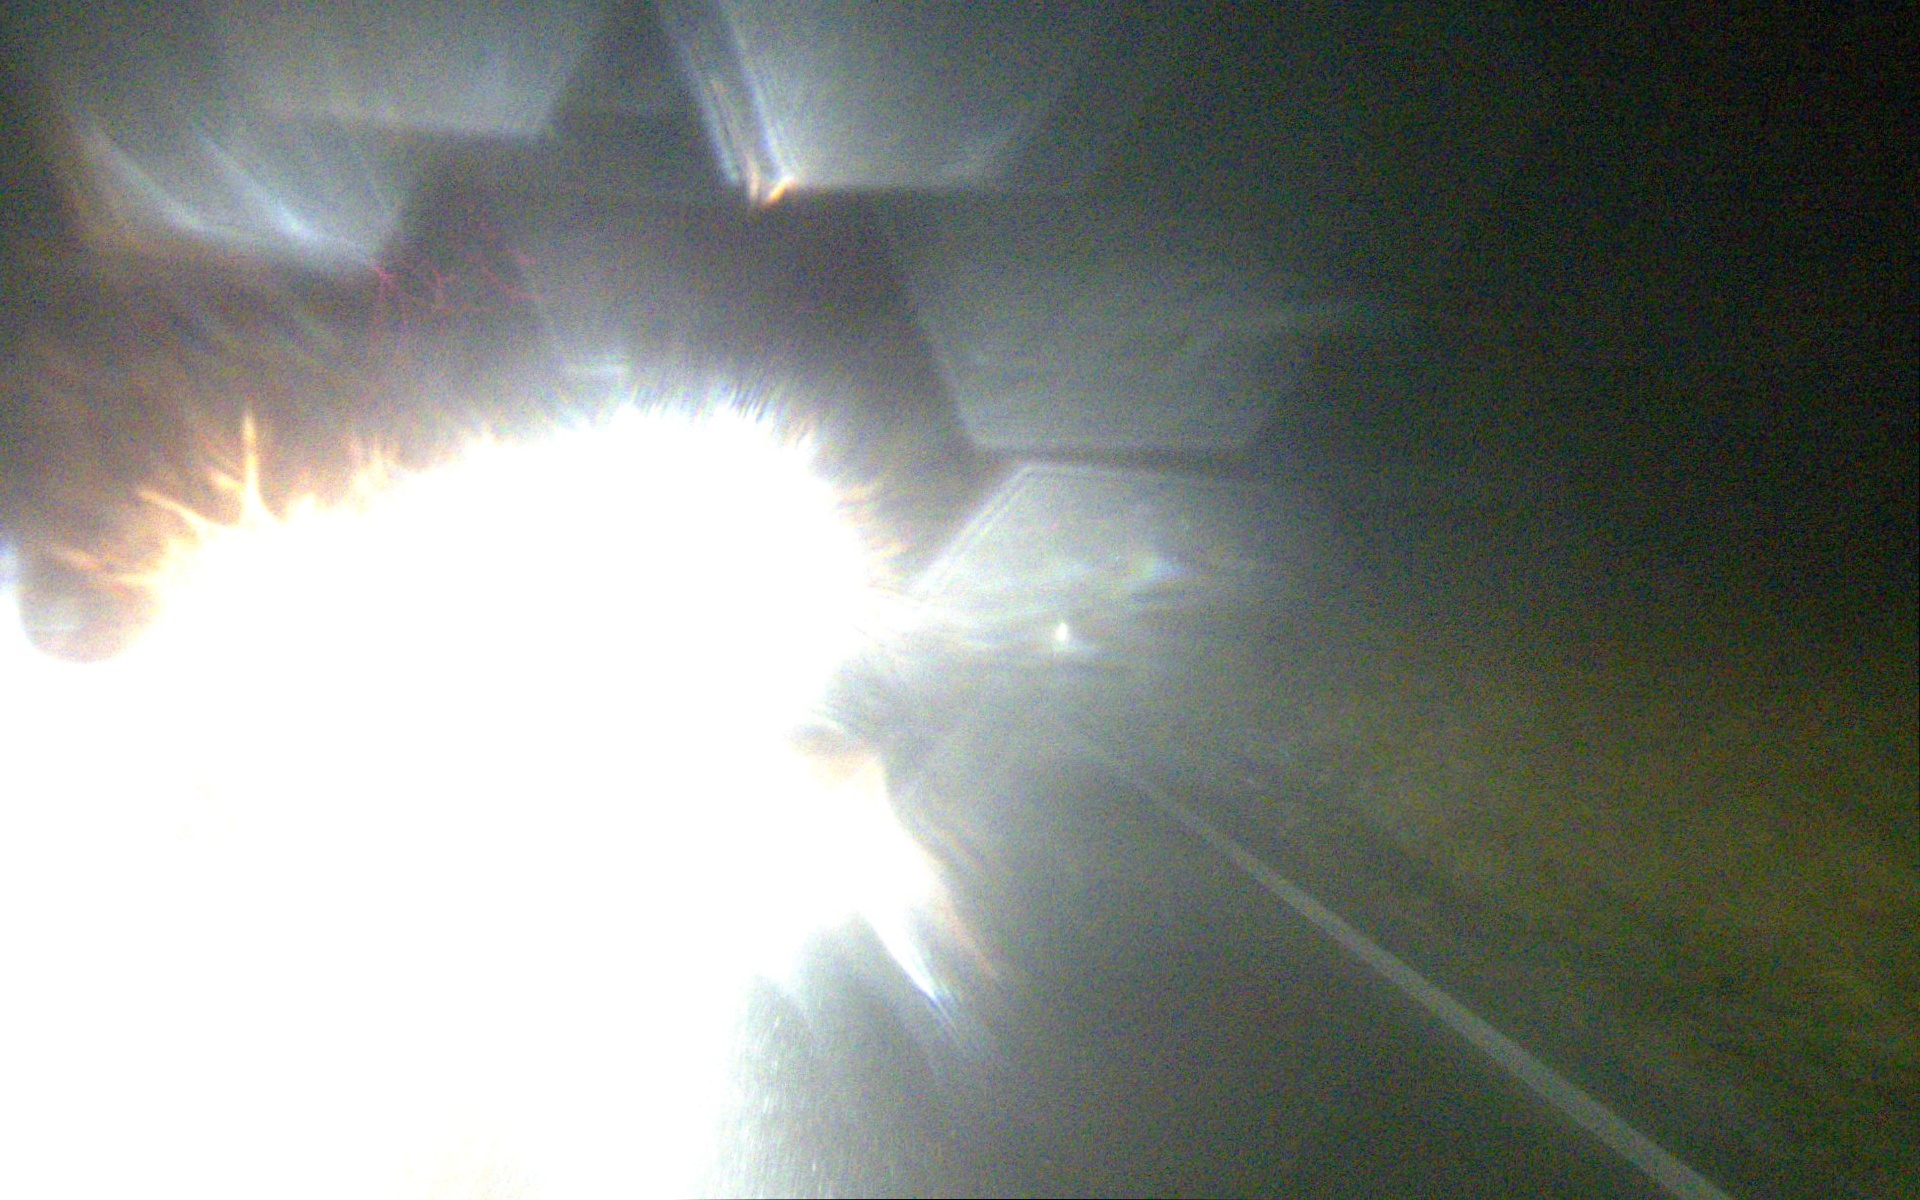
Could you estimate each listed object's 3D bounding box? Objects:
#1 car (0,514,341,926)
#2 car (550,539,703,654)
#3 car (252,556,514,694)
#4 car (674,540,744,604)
[{"bbox_3d":[-4.382,0.410,15.487,2.110,1.570,4.679,1,1,3],"label":"car"},{"bbox_3d":[-4.940,-0.080,51.423,1.923,1.610,4.085,1,1,-1],"label":"car"},{"bbox_3d":[-6.212,0.227,37.552,1.804,1.378,4.771,1,1,3],"label":"car"},{"bbox_3d":[-6.751,-0.771,92.810,1.654,1.677,4.521,1,1,-1],"label":"car"}]
